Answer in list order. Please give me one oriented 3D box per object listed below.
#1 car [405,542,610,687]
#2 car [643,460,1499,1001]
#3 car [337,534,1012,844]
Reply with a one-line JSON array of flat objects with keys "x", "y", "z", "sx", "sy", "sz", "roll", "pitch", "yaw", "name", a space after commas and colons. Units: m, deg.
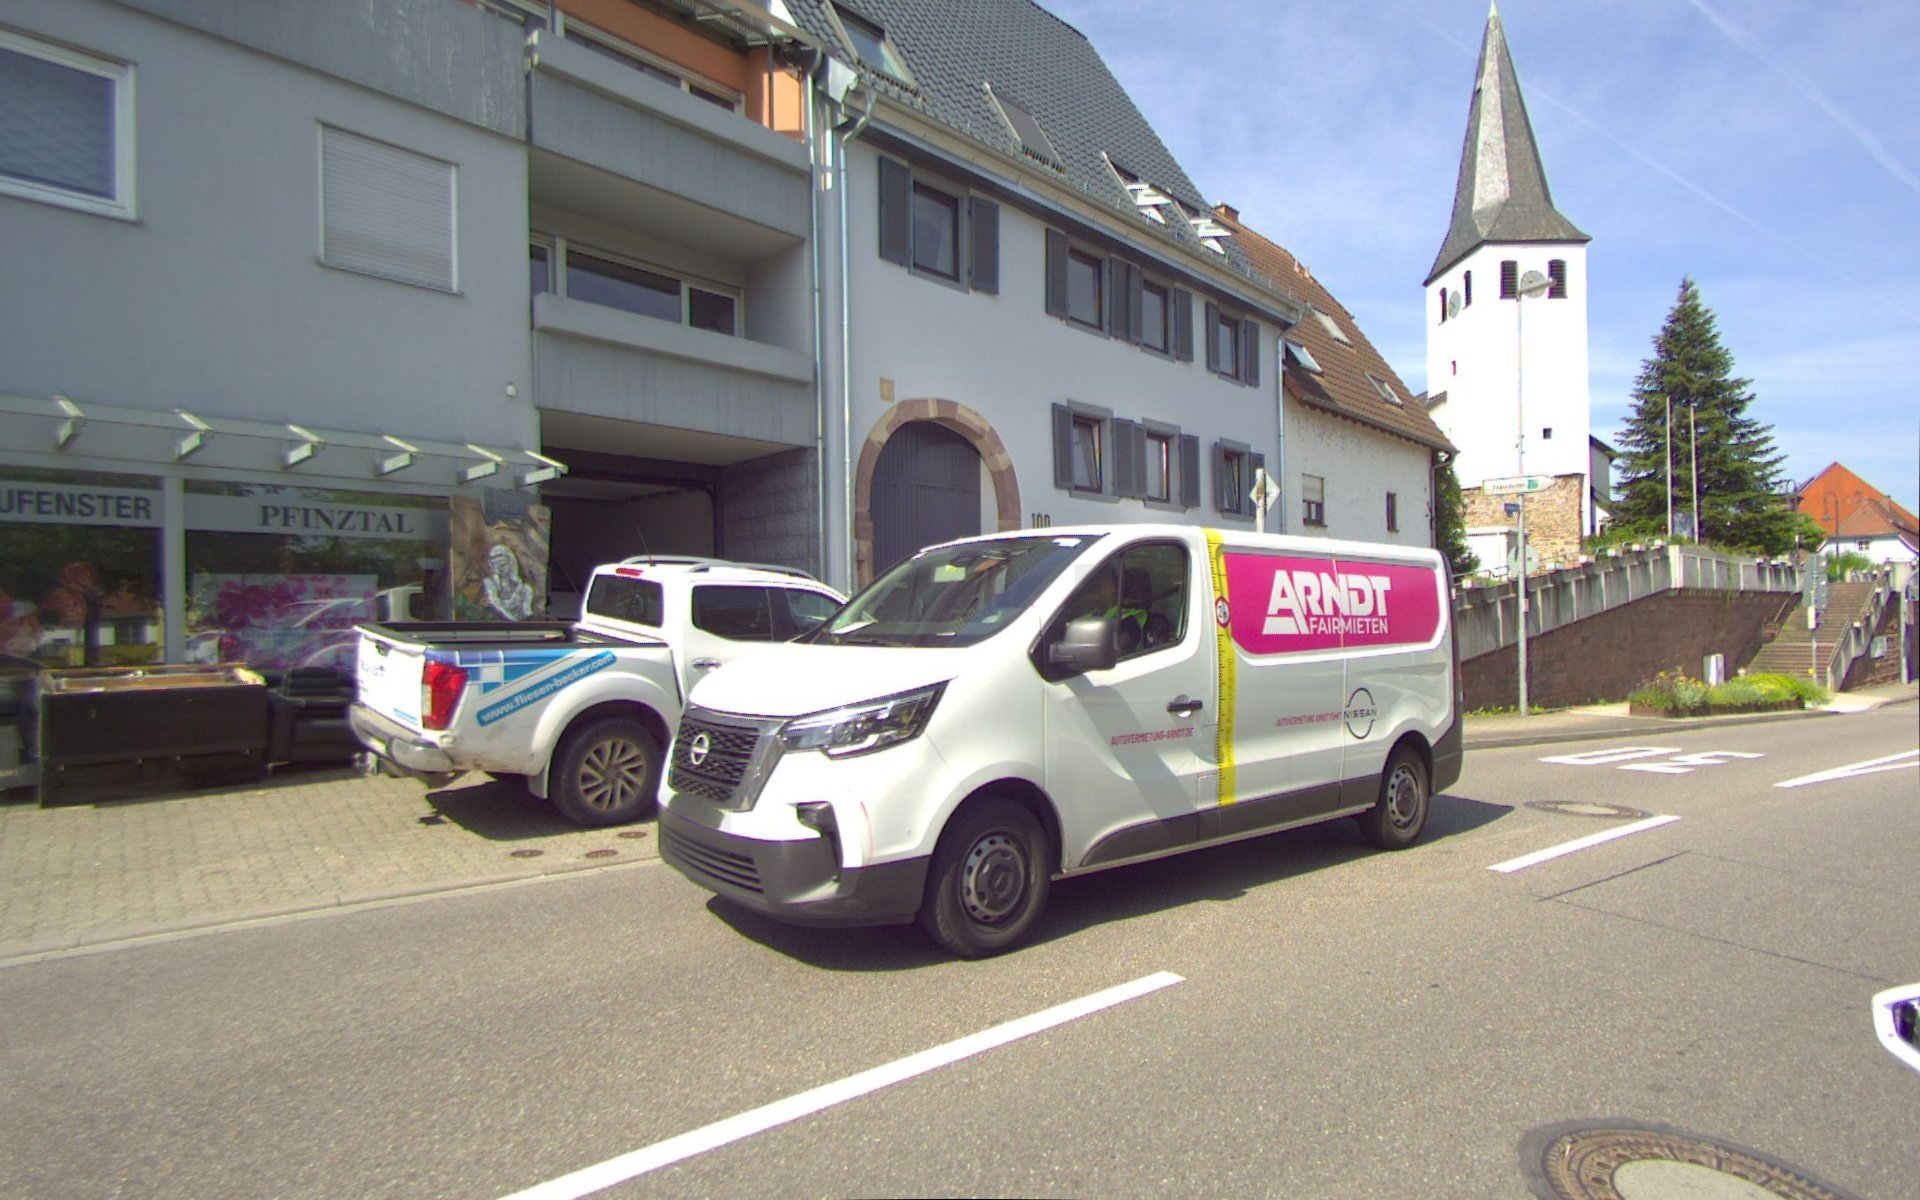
[{"x": -7.405, "y": 0.175, "z": 16.232, "sx": 1.862, "sy": 2.040, "sz": 4.073, "roll": 1, "pitch": 1, "yaw": -42, "name": "car"}, {"x": 1.018, "y": 0.542, "z": 6.052, "sx": 5.266, "sy": 1.958, "sz": 1.954, "roll": 1, "pitch": -2, "yaw": -38, "name": "car"}, {"x": -1.973, "y": 0.520, "z": 8.429, "sx": 1.785, "sy": 1.822, "sz": 5.254, "roll": 3, "pitch": 2, "yaw": 44, "name": "car"}]
